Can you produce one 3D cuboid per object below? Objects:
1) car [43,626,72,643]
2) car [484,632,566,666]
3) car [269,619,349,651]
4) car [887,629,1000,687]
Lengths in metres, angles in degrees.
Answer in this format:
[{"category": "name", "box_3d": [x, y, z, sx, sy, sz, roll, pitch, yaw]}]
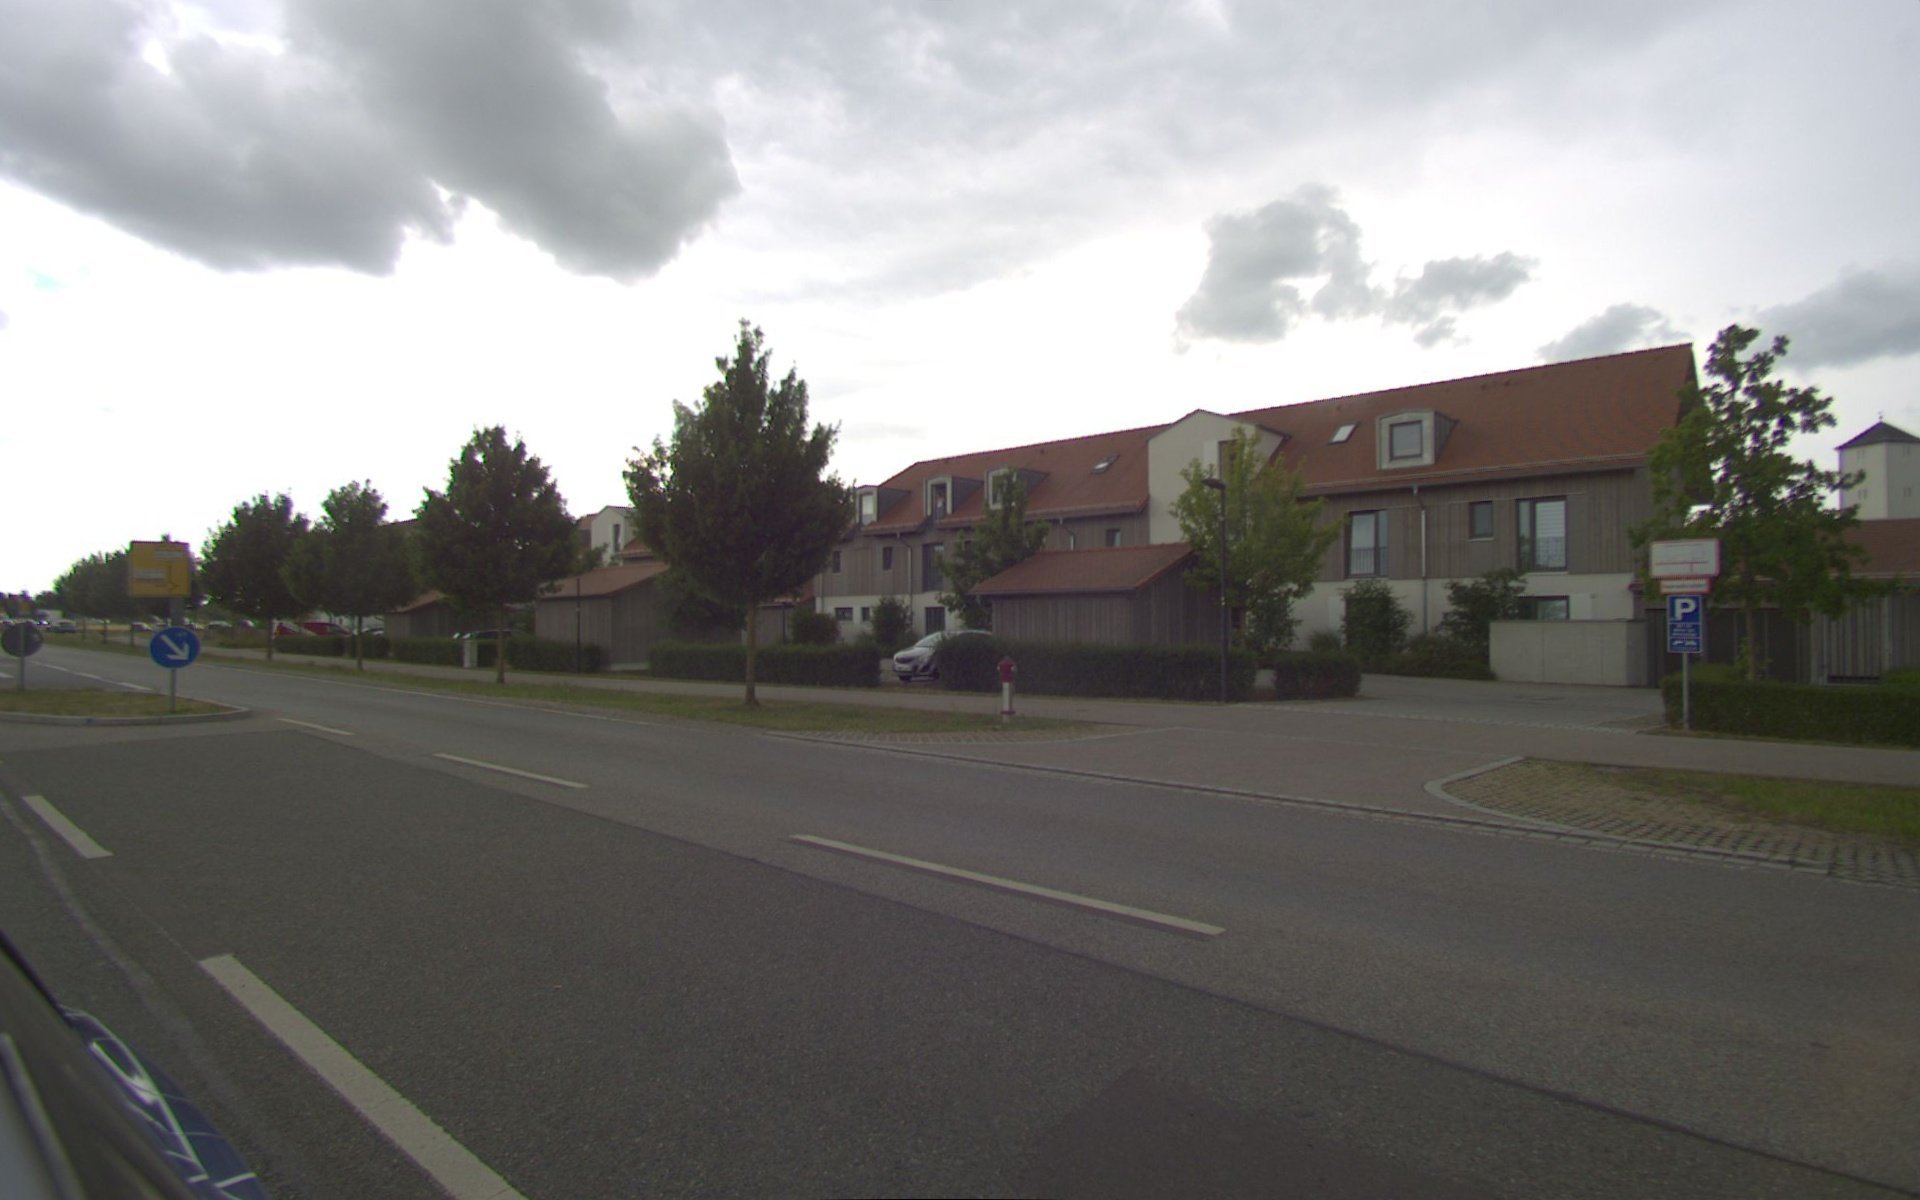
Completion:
[{"category": "car", "box_3d": [-101.958, 3.919, 114.327, 3.997, 1.796, 1.973, 0, 1, 40]}, {"category": "car", "box_3d": [-21.705, 2.402, 50.536, 1.300, 1.450, 3.546, -1, 1, 41]}, {"category": "car", "box_3d": [-46.607, 2.474, 72.514, 4.505, 2.029, 2.002, -2, 1, -44]}, {"category": "car", "box_3d": [-0.449, 1.667, 29.893, 1.300, 1.450, 3.546, -1, 1, 41]}]
